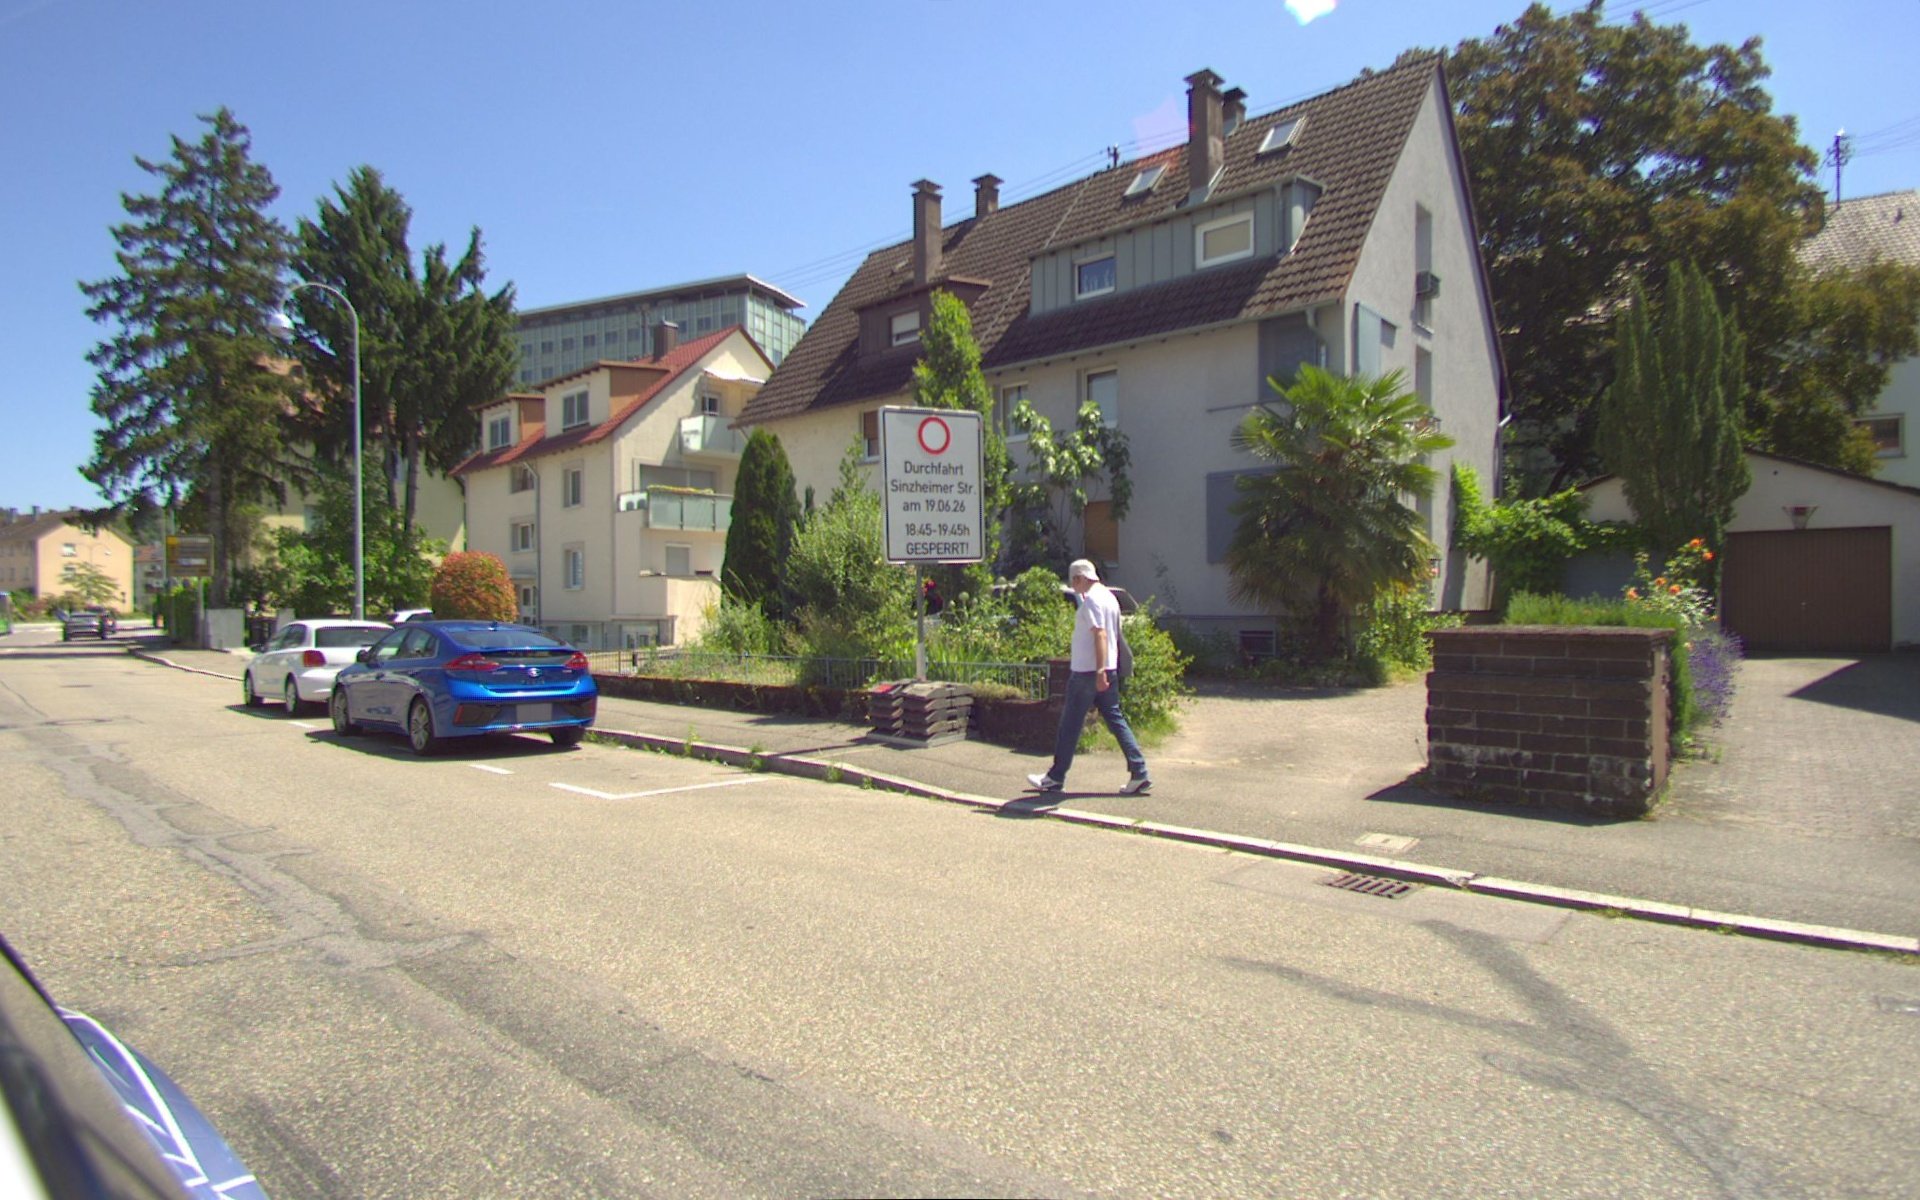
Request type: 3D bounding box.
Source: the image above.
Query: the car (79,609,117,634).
[{"bbox_3d":[-57.388,1.456,67.426,1.783,1.500,4.394,2,-4,-40],"label":"car"}]

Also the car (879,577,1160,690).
[{"bbox_3d":[0.826,0.410,16.075,4.362,1.519,1.750,2,3,43],"label":"car"}]

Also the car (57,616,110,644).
[{"bbox_3d":[-48.312,1.654,55.828,1.717,1.516,4.153,2,-2,-35],"label":"car"}]

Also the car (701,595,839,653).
[{"bbox_3d":[-5.523,0.674,29.752,1.646,1.548,3.745,-3,-1,41],"label":"car"}]

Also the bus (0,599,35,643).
[{"bbox_3d":[-71.938,1.560,75.811,2.883,3.085,12.588,0,-1,-38],"label":"bus"}]

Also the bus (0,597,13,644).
[{"bbox_3d":[-64.295,1.362,65.769,2.866,3.104,12.588,0,-1,-38],"label":"bus"}]

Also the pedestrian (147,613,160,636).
[{"bbox_3d":[-59.087,1.793,74.140,0.606,1.576,0.825,-7,4,-41],"label":"pedestrian"}]

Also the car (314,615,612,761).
[{"bbox_3d":[-6.106,0.957,12.196,4.362,1.450,1.750,-2,-3,43],"label":"car"}]

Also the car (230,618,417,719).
[{"bbox_3d":[-10.364,1.058,16.366,3.940,1.434,1.561,-2,-4,43],"label":"car"}]

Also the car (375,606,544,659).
[{"bbox_3d":[-15.698,0.975,31.867,4.415,1.452,1.849,-1,0,-43],"label":"car"}]

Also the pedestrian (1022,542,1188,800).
[{"bbox_3d":[1.160,0.524,8.139,0.681,1.903,1.019,-6,4,-44],"label":"pedestrian"}]
